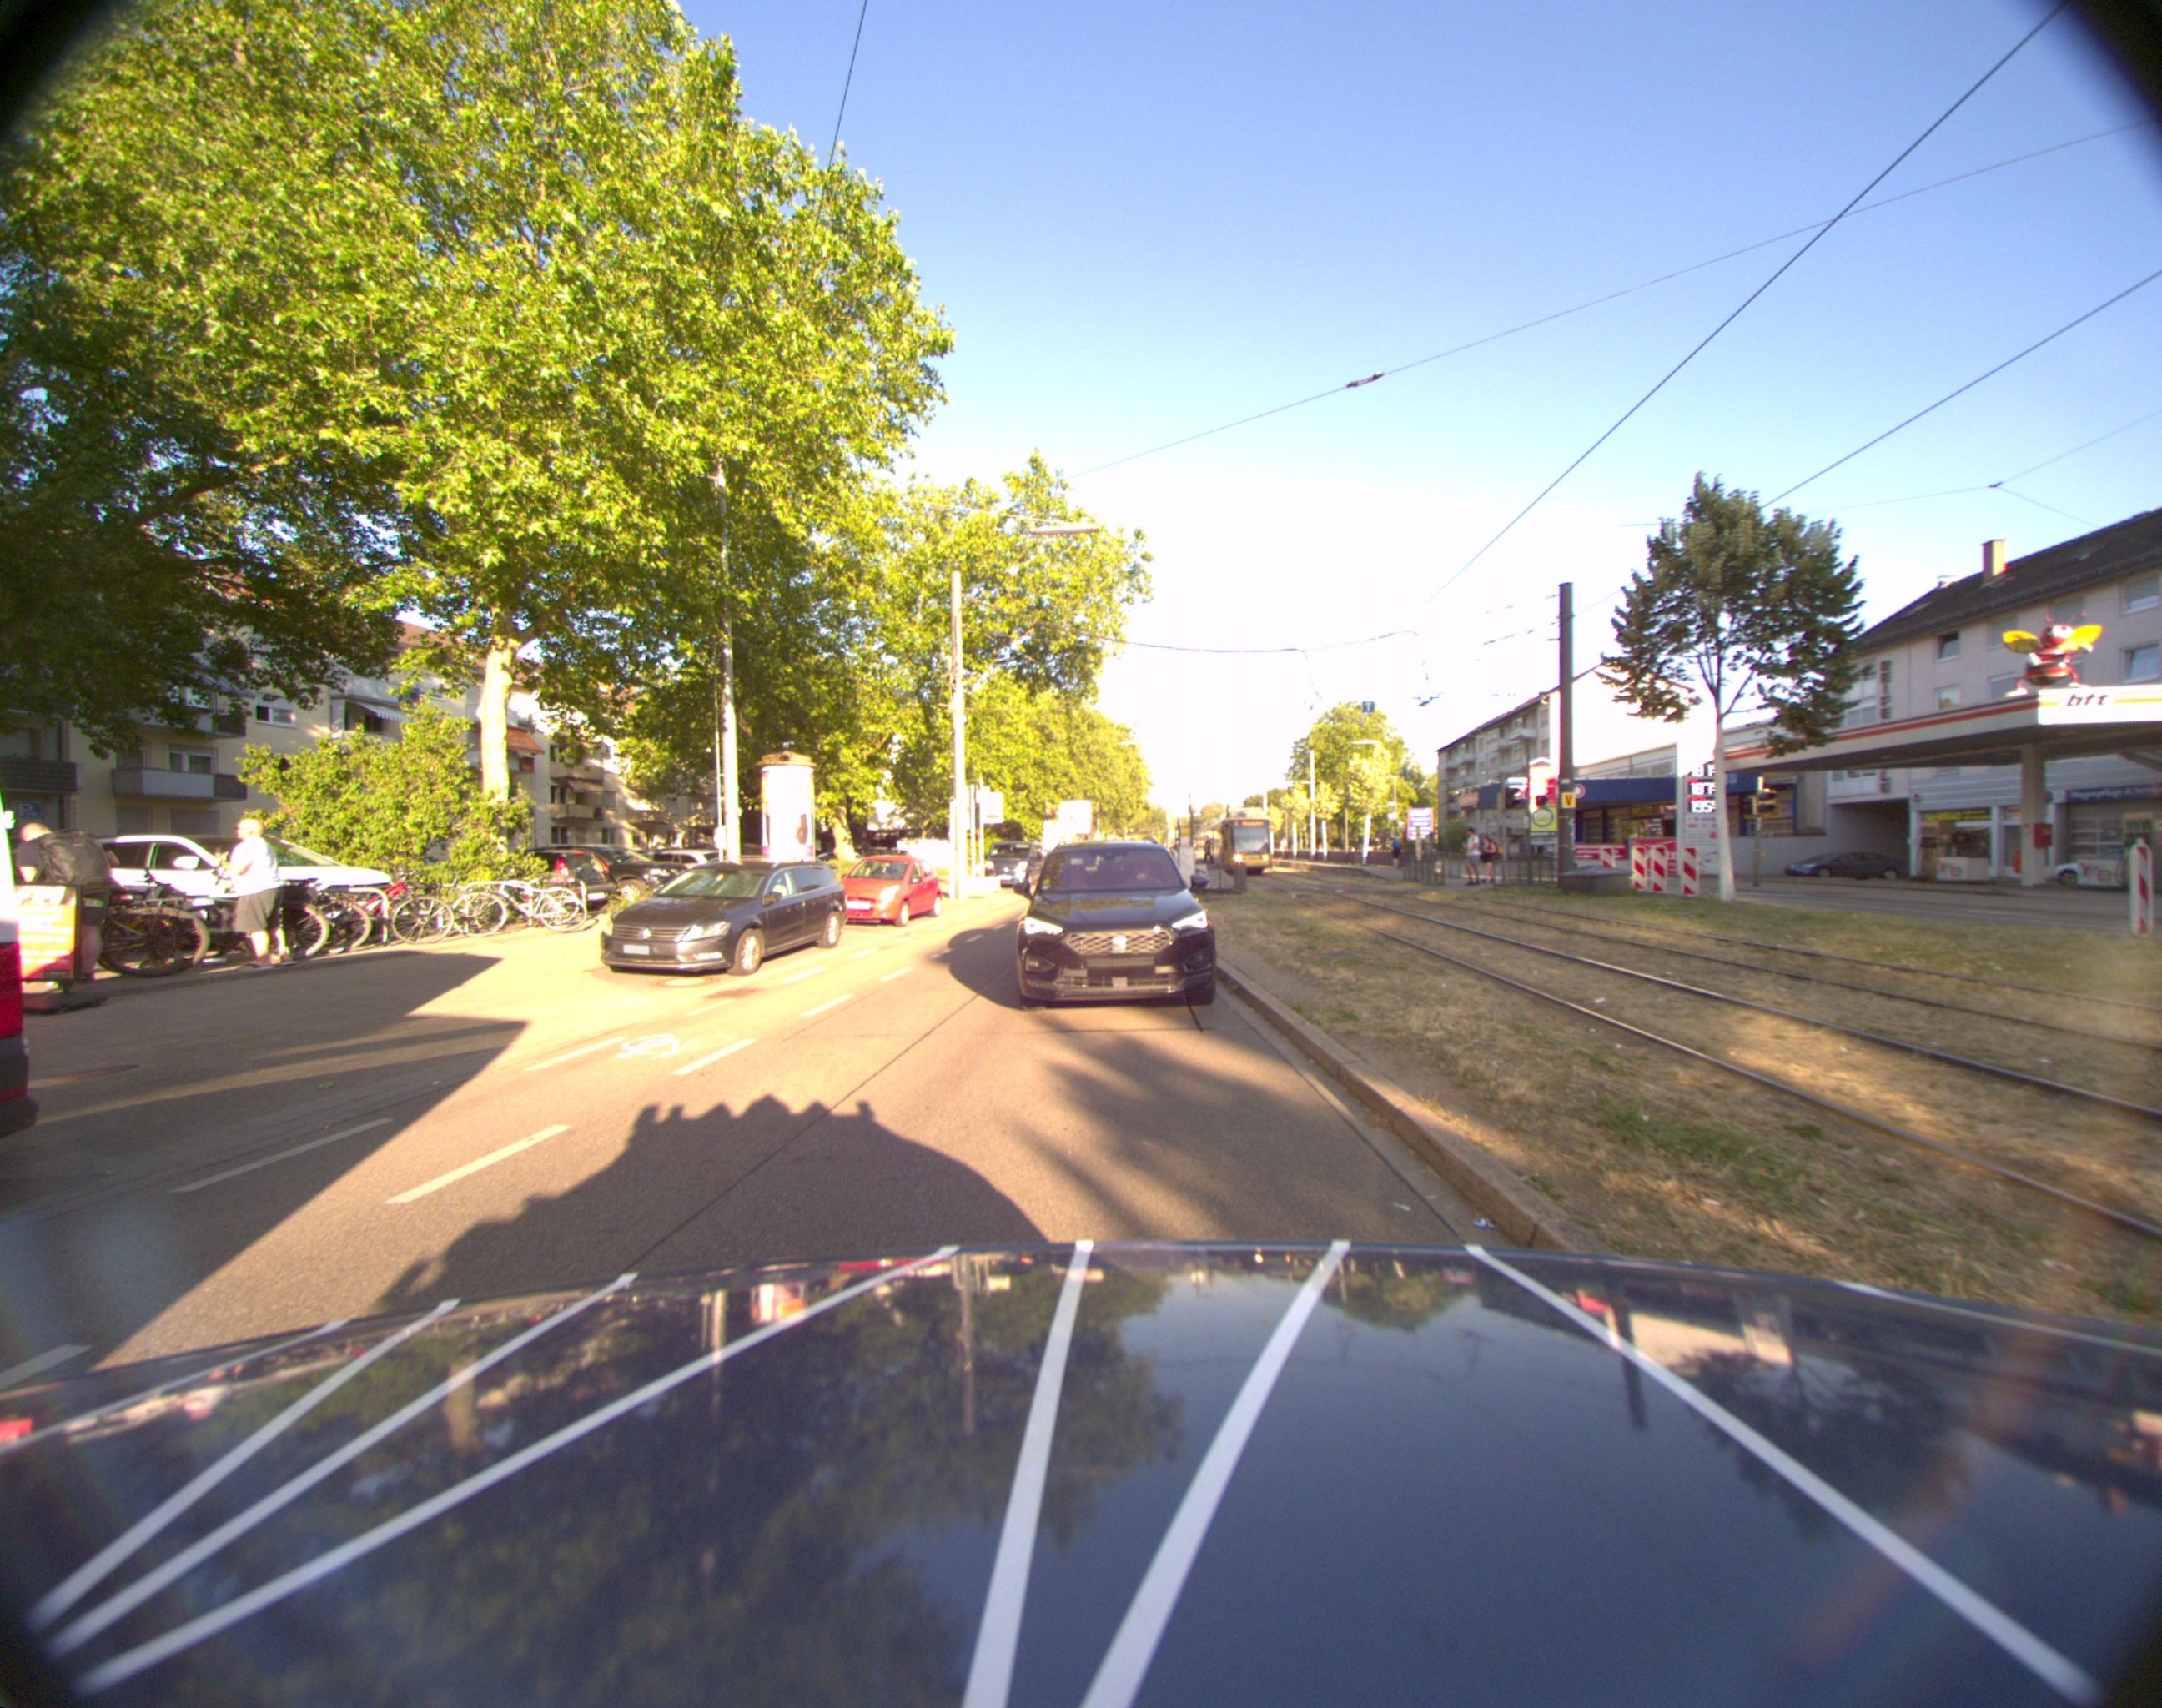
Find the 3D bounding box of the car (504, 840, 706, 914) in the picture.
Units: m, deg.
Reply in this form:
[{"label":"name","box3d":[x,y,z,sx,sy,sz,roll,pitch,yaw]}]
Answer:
[{"label":"car","box3d":[-12.203,0.568,19.639,4.030,1.591,1.857,-4,1,5]}]

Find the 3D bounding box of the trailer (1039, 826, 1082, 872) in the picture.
[{"label":"trailer","box3d":[-1.160,-0.309,45.544,1.889,2.573,4.652,-1,1,7]}]

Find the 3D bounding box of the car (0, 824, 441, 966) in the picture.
[{"label":"car","box3d":[-12.761,0.571,11.453,4.627,1.699,2.001,-3,1,6]}]

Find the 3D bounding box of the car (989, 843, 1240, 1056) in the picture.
[{"label":"car","box3d":[0.321,0.746,8.061,1.910,1.606,4.085,-3,0,2]}]

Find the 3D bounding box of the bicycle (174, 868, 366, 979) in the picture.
[{"label":"bicycle","box3d":[-9.818,0.809,9.273,1.523,1.220,0.402,-1,1,-33]}]

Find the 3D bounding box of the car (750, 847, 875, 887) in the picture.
[{"label":"car","box3d":[-10.201,0.479,29.039,4.119,1.486,1.803,0,1,8]}]

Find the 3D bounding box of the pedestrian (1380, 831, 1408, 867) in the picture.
[{"label":"pedestrian","box3d":[14.855,-0.258,36.080,0.936,1.644,0.926,-3,1,6]}]

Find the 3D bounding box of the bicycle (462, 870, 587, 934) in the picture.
[{"label":"bicycle","box3d":[-9.601,0.805,13.197,1.682,1.008,0.649,-1,1,-32]}]

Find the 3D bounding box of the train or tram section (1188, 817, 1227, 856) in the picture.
[{"label":"train or tram section","box3d":[12.053,-1.671,73.211,3.041,3.498,10.098,0,1,5]}]

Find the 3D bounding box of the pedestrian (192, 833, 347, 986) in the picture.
[{"label":"pedestrian","box3d":[-9.223,0.598,8.687,0.661,1.627,0.990,3,0,-1]}]

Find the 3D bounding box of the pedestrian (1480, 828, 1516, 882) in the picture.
[{"label":"pedestrian","box3d":[13.816,0.032,25.202,0.754,1.737,0.860,-1,1,3]}]

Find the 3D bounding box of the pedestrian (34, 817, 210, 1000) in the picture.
[{"label":"pedestrian","box3d":[-9.775,0.532,7.772,0.808,1.741,0.769,3,1,7]}]

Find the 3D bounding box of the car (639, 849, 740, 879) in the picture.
[{"label":"car","box3d":[-20.730,0.503,40.376,4.291,1.487,2.000,-1,1,3]}]

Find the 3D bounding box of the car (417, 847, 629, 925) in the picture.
[{"label":"car","box3d":[-12.560,0.696,17.240,3.505,1.474,1.774,-4,1,5]}]

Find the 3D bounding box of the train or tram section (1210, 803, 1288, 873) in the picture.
[{"label":"train or tram section","box3d":[9.227,-0.921,43.041,3.041,3.498,10.098,0,1,5]}]

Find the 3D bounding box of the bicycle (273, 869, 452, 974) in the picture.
[{"label":"bicycle","box3d":[-9.572,0.862,10.215,1.585,1.220,0.649,-3,2,-31]}]

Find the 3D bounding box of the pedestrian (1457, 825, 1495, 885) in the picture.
[{"label":"pedestrian","box3d":[12.802,0.031,24.632,0.859,1.921,0.755,-1,1,4]}]

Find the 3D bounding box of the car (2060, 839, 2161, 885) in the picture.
[{"label":"car","box3d":[37.033,0.263,26.221,1.815,1.514,3.830,-1,1,8]}]

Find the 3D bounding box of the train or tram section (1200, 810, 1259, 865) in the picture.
[{"label":"train or tram section","box3d":[10.190,-1.169,53.091,3.041,3.498,10.098,0,1,5]}]

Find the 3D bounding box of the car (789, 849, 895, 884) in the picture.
[{"label":"car","box3d":[-10.689,0.554,34.086,4.119,1.486,1.803,0,1,8]}]

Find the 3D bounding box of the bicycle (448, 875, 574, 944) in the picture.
[{"label":"bicycle","box3d":[-9.333,0.885,12.518,1.585,1.008,0.649,-1,1,-31]}]

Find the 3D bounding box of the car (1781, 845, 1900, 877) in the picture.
[{"label":"car","box3d":[37.519,0.324,37.620,3.801,1.515,1.819,-1,1,9]}]

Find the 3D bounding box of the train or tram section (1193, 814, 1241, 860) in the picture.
[{"label":"train or tram section","box3d":[11.105,-1.413,63.148,3.041,3.498,10.098,0,1,5]}]

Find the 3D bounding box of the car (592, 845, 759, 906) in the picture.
[{"label":"car","box3d":[-11.797,0.613,22.236,3.847,1.486,1.857,-4,1,8]}]

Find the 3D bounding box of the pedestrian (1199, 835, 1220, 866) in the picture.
[{"label":"pedestrian","box3d":[6.707,-0.193,39.668,0.918,1.541,0.789,-2,1,-2]}]

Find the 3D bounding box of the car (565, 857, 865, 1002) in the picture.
[{"label":"car","box3d":[-4.916,0.882,11.110,1.700,1.522,4.654,2,1,6]}]

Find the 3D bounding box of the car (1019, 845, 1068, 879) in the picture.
[{"label":"car","box3d":[-1.848,0.367,38.709,1.799,1.621,4.001,-1,1,7]}]

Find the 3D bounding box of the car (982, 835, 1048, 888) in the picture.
[{"label":"car","box3d":[-2.715,0.278,32.491,1.888,2.066,4.564,-1,1,7]}]

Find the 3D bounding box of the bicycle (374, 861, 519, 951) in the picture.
[{"label":"bicycle","box3d":[-9.373,0.727,11.277,1.586,1.220,0.645,-1,1,-40]}]

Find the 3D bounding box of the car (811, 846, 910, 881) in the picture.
[{"label":"car","box3d":[-10.466,0.426,36.253,4.119,1.590,1.803,0,1,8]}]

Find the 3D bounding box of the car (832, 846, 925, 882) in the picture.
[{"label":"car","box3d":[-10.247,0.497,38.558,4.120,1.541,1.803,-3,1,8]}]

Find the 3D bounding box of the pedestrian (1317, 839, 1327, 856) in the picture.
[{"label":"pedestrian","box3d":[26.819,-0.735,84.693,0.754,1.871,1.001,-4,1,5]}]

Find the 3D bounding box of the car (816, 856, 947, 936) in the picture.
[{"label":"car","box3d":[-4.289,0.829,16.863,1.572,1.486,3.627,2,1,7]}]

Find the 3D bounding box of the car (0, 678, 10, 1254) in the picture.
[{"label":"car","box3d":[-6.056,0.499,0.584,2.021,2.537,5.787,3,1,6]}]

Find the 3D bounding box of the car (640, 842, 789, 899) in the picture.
[{"label":"car","box3d":[-11.739,0.500,24.482,3.847,1.622,1.857,-3,1,8]}]
